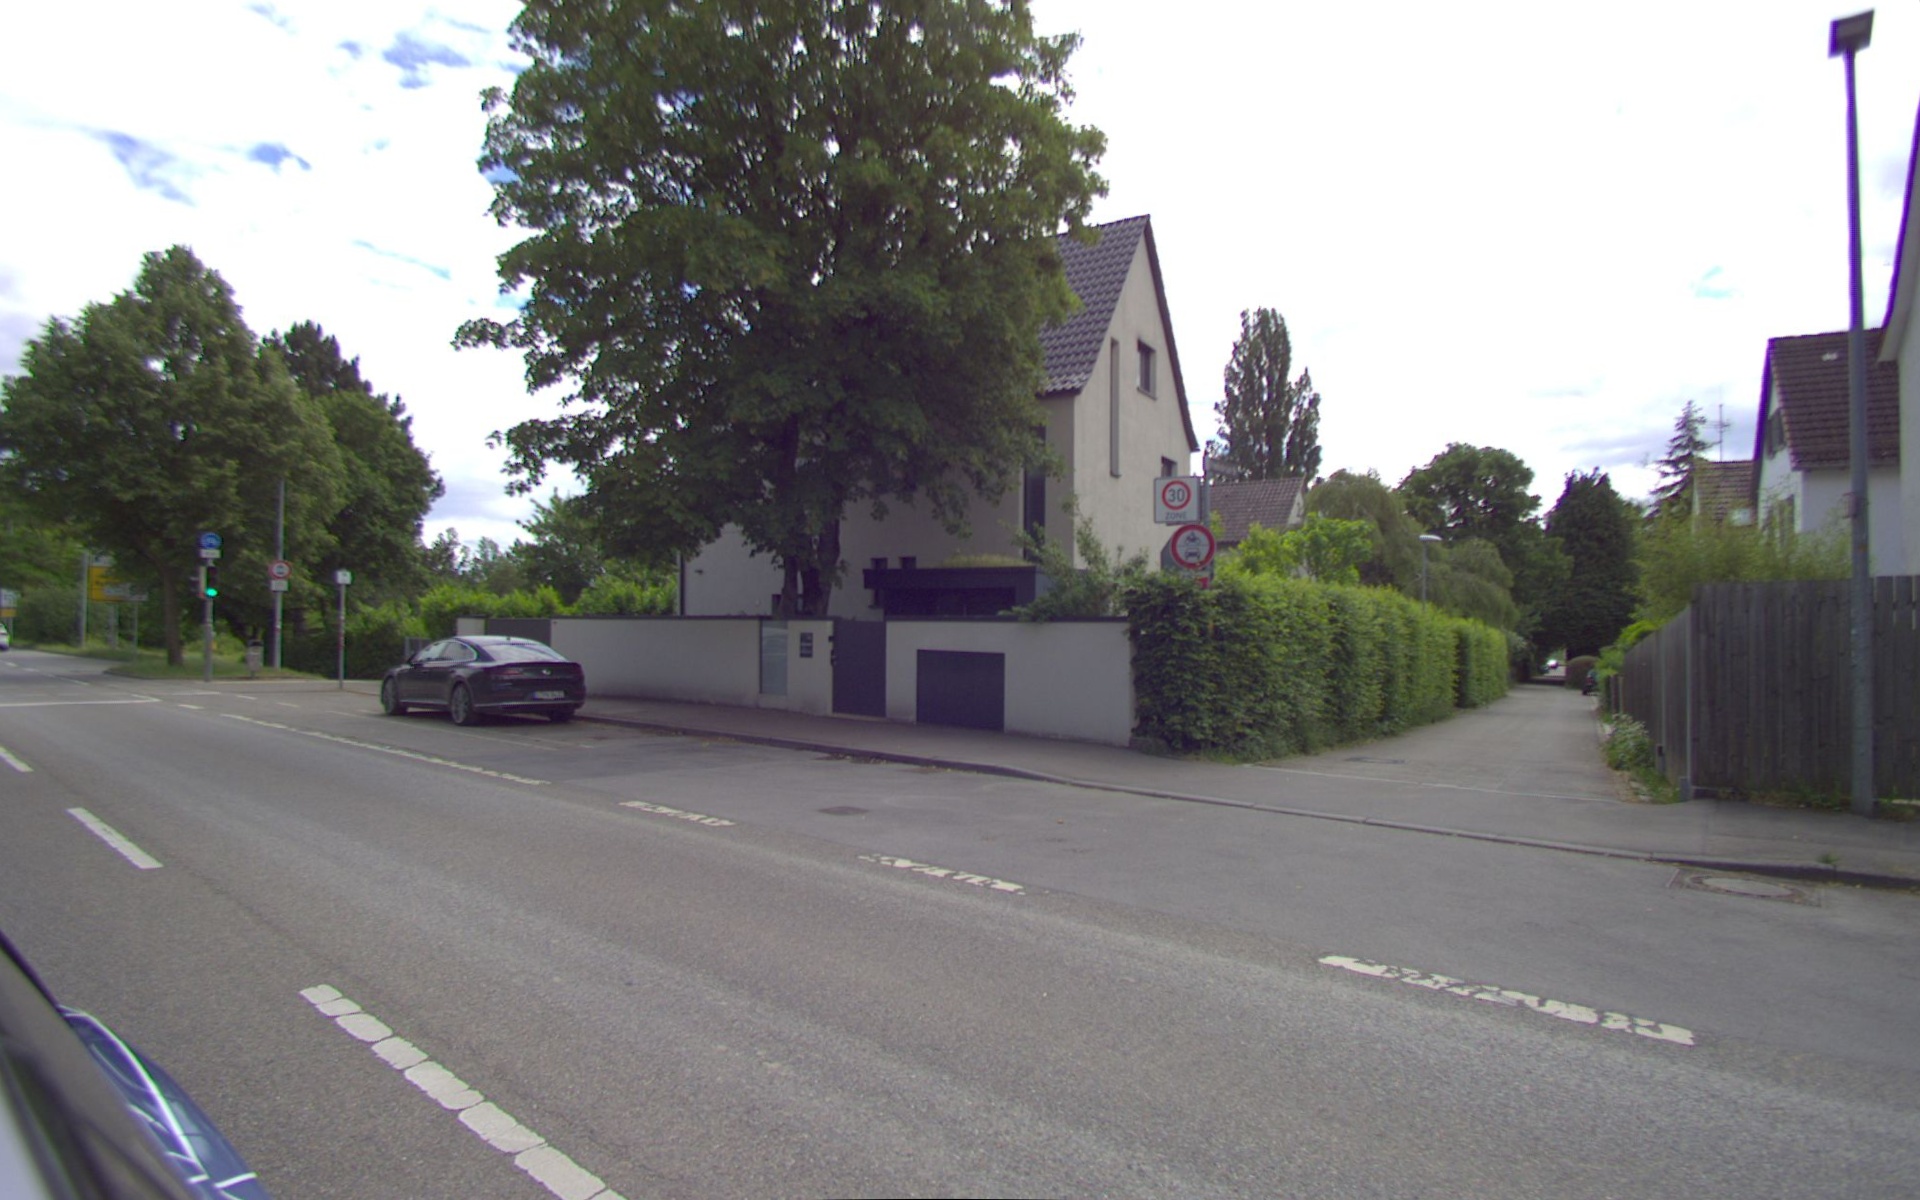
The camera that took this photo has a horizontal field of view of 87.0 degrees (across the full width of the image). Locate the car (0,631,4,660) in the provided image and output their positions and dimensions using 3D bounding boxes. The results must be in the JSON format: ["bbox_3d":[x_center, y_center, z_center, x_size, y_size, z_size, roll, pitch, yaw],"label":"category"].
[{"bbox_3d":[-56.281,2.615,58.068,3.999,1.644,1.763,-2,-3,42],"label":"car"}]

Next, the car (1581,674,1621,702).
[{"bbox_3d":[35.793,4.882,56.455,1.747,1.419,3.843,-1,-4,34],"label":"car"}]

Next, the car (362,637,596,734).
[{"bbox_3d":[-8.315,1.369,17.284,4.924,1.419,1.728,-2,-4,41],"label":"car"}]
